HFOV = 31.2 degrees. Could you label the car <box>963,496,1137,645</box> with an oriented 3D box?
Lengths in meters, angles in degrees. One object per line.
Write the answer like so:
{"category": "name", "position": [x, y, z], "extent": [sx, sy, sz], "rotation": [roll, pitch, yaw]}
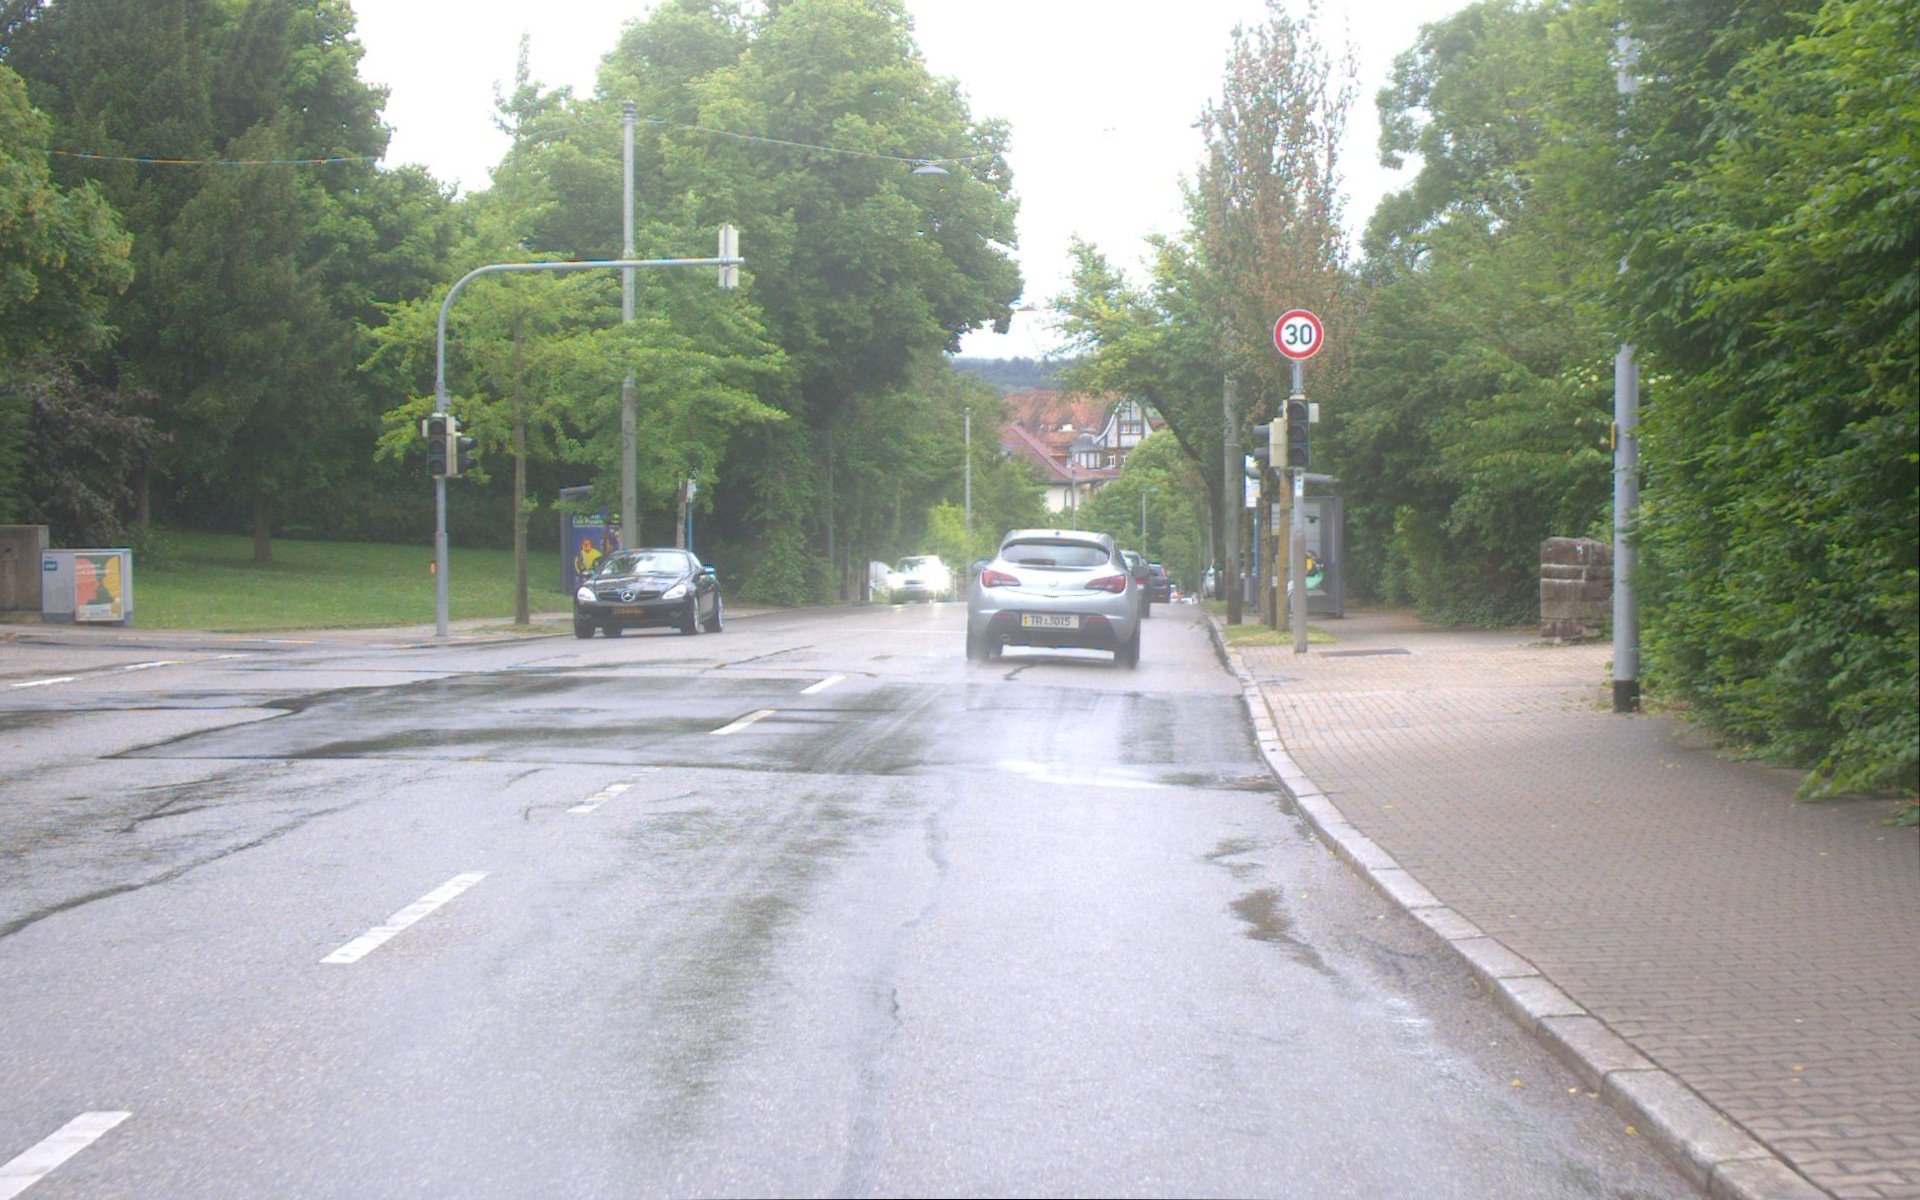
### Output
{"category": "car", "position": [1.020, -0.368, 38.021], "extent": [1.754, 1.459, 4.000], "rotation": [3, 2, 2]}

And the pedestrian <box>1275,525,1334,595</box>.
{"category": "pedestrian", "position": [6.746, -0.791, 67.293], "extent": [1.074, 1.351, 0.918], "rotation": [0, 1, 11]}

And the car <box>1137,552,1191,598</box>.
{"category": "car", "position": [7.148, -0.899, 120.892], "extent": [1.721, 1.459, 4.000], "rotation": [4, 1, 2]}

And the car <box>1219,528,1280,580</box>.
{"category": "car", "position": [8.415, -1.342, 100.080], "extent": [1.722, 1.459, 4.000], "rotation": [-1, 1, 4]}

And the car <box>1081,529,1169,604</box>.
{"category": "car", "position": [3.492, -0.731, 72.903], "extent": [1.721, 1.459, 4.000], "rotation": [4, 1, 2]}

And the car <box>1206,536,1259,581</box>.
{"category": "car", "position": [9.114, -1.409, 115.229], "extent": [1.722, 1.459, 4.000], "rotation": [-1, 1, 4]}

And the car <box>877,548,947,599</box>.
{"category": "car", "position": [-1.411, -0.812, 102.762], "extent": [1.722, 1.394, 4.000], "rotation": [3, 1, 4]}

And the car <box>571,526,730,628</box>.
{"category": "car", "position": [-4.479, -0.368, 50.231], "extent": [1.661, 1.302, 4.083], "rotation": [-1, 2, 4]}
